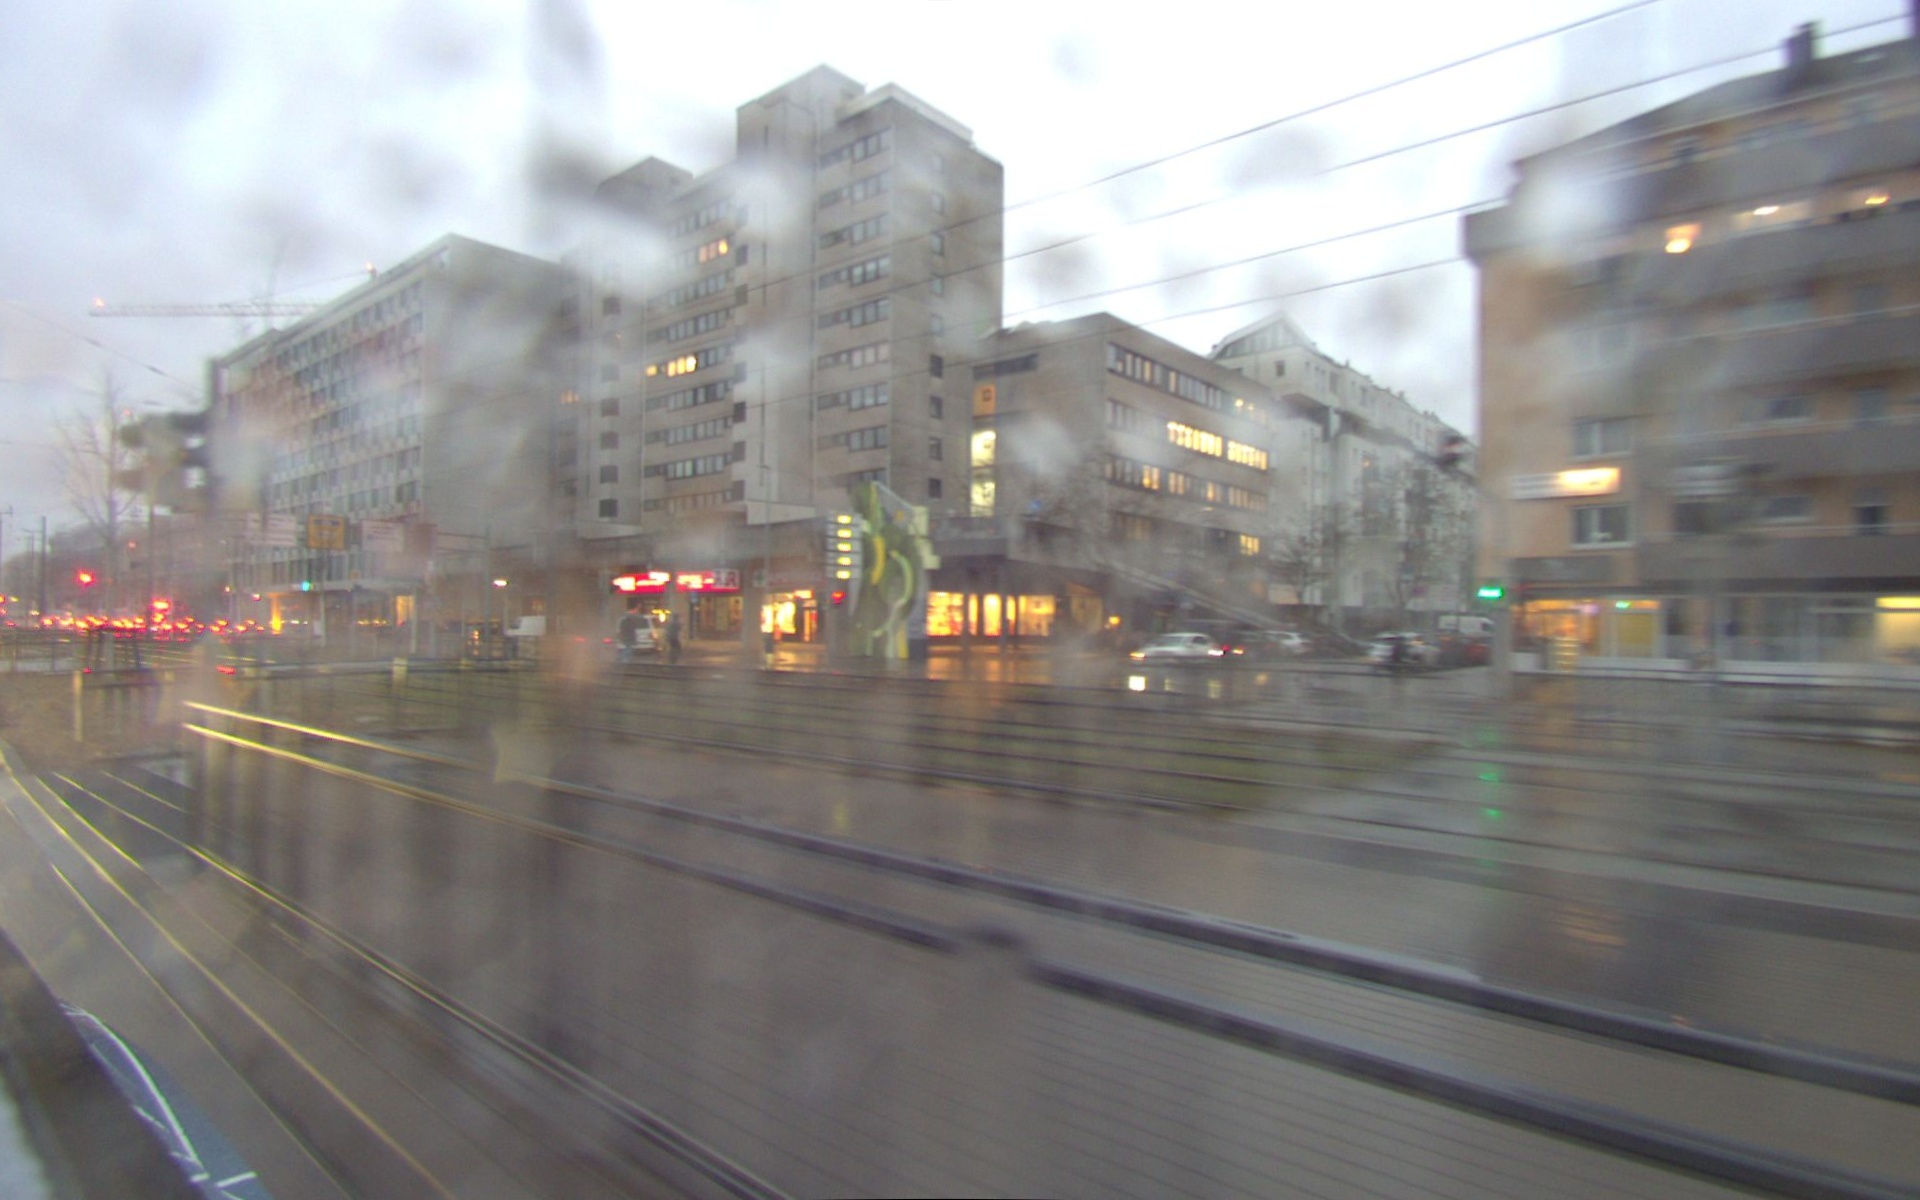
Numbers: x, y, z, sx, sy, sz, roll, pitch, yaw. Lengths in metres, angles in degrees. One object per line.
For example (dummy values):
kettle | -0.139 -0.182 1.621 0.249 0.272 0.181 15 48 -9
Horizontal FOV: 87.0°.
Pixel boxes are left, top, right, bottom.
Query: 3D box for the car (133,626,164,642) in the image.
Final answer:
car | -78.605 3.303 98.014 3.869 1.460 1.576 0 -1 40

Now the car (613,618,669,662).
car | -16.488 2.006 52.520 1.969 2.029 4.580 -1 1 -7

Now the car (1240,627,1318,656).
car | 17.057 2.200 54.172 3.574 1.431 1.816 -1 -1 38

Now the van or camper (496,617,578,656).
van or camper | -24.109 2.056 57.566 5.651 2.113 1.973 -1 -2 41

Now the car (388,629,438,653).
car | -38.385 2.867 71.147 1.656 1.630 3.781 0 -1 -4

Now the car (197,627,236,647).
car | -61.620 3.024 83.825 3.887 1.523 1.732 0 -1 40

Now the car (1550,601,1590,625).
car | 40.269 0.890 66.827 1.756 1.564 3.788 -1 -2 39

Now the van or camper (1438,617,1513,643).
van or camper | 45.348 2.603 89.116 5.631 2.260 1.972 -1 -2 42

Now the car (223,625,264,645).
car | -55.123 2.646 77.863 3.764 1.460 1.656 0 -1 40

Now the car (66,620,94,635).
car | -89.579 2.827 102.986 3.869 1.460 1.576 0 -1 40

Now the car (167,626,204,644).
car | -68.138 3.079 89.040 3.869 1.460 1.732 0 -1 40

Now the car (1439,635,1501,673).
car | 23.260 2.419 46.108 1.756 1.564 3.788 -1 -2 39

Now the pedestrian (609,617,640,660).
pedestrian | -11.841 1.356 35.728 0.629 1.501 0.783 -1 -2 33

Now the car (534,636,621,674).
car | -17.700 2.512 46.675 4.706 1.557 1.971 -1 -1 45

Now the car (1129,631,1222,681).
car | 7.845 1.982 36.578 1.684 1.523 3.948 0 1 39

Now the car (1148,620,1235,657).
car | 10.753 1.758 46.985 3.629 1.613 1.604 0 -1 34

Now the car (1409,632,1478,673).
car | 20.106 2.133 42.040 1.756 1.564 3.788 -1 -2 39

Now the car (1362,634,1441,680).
car | 16.609 2.082 37.972 1.776 1.564 3.788 -1 -2 39
